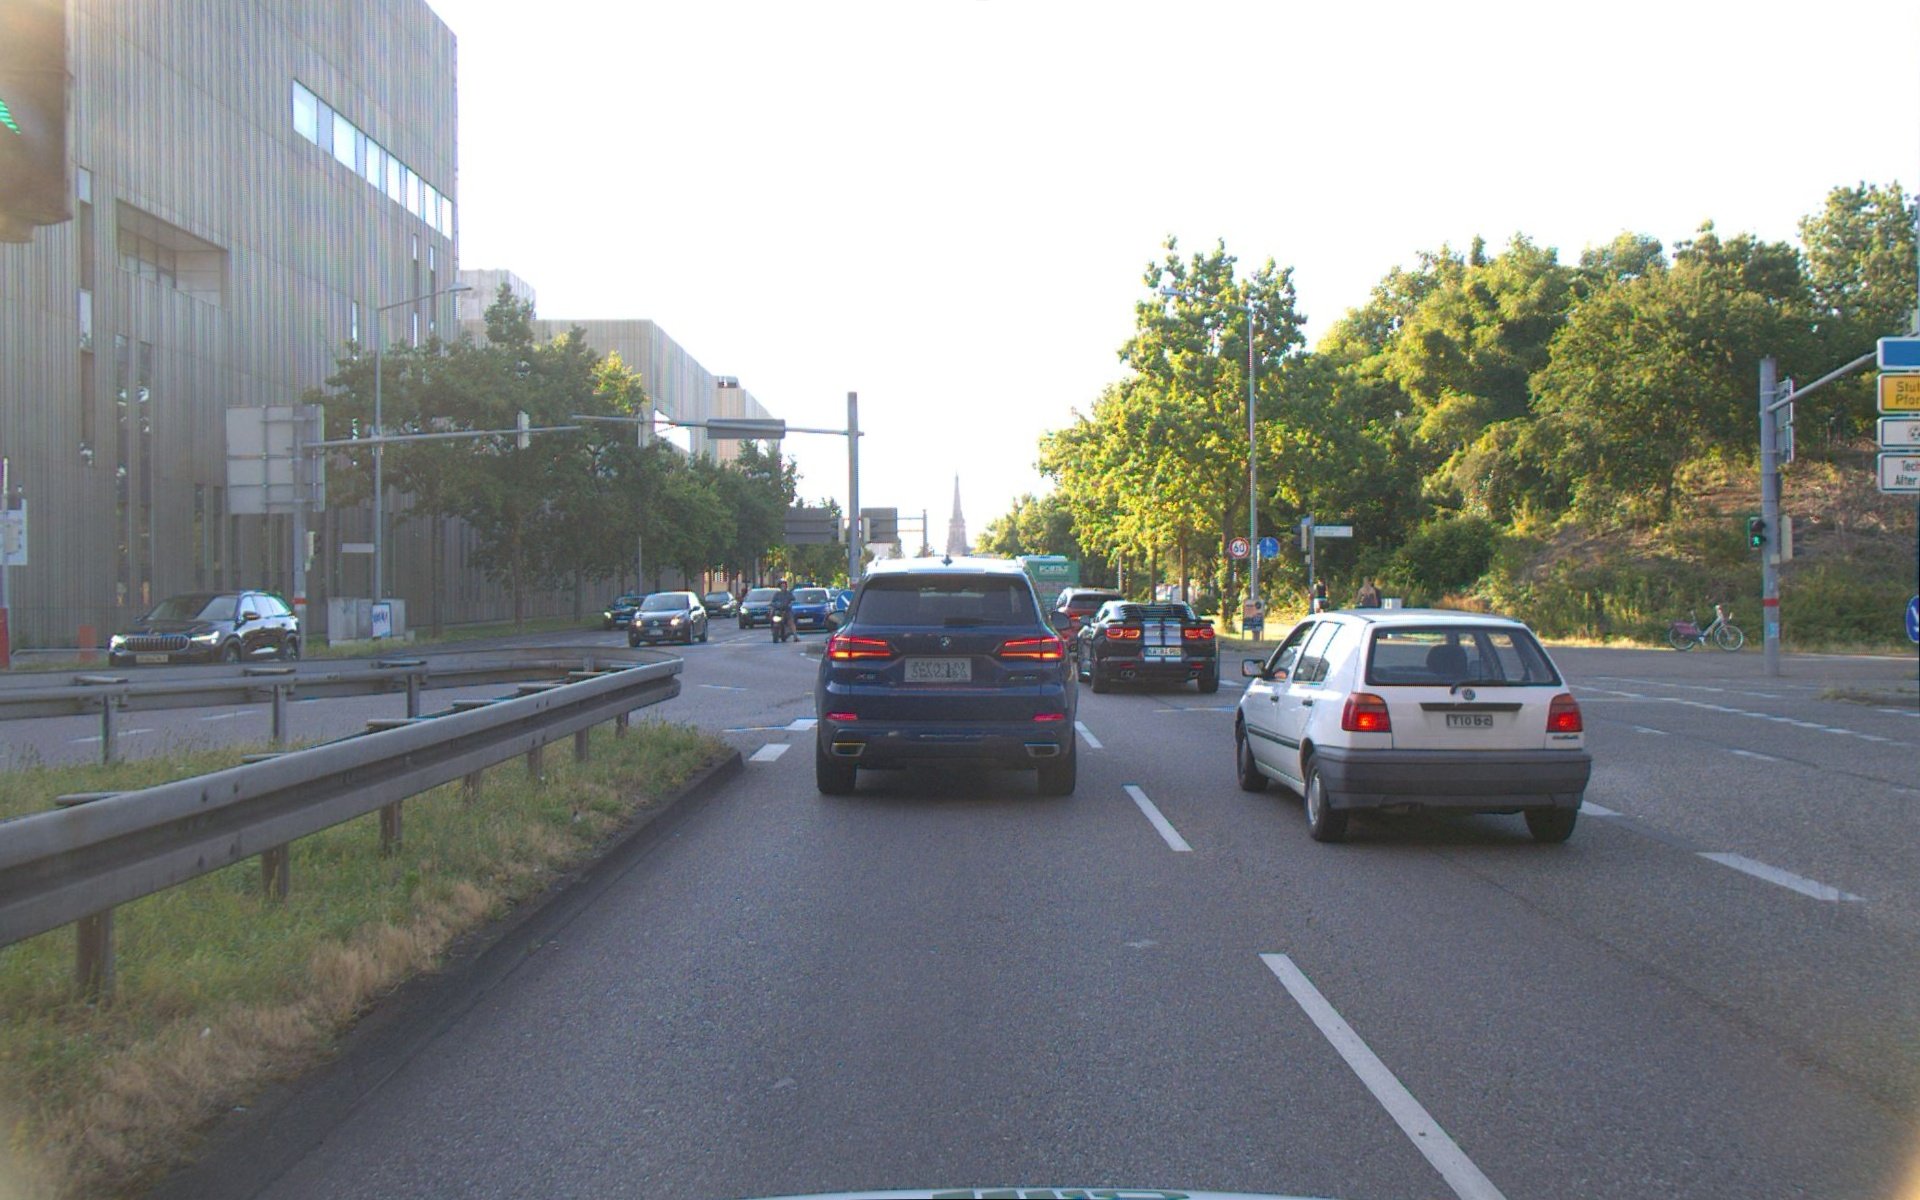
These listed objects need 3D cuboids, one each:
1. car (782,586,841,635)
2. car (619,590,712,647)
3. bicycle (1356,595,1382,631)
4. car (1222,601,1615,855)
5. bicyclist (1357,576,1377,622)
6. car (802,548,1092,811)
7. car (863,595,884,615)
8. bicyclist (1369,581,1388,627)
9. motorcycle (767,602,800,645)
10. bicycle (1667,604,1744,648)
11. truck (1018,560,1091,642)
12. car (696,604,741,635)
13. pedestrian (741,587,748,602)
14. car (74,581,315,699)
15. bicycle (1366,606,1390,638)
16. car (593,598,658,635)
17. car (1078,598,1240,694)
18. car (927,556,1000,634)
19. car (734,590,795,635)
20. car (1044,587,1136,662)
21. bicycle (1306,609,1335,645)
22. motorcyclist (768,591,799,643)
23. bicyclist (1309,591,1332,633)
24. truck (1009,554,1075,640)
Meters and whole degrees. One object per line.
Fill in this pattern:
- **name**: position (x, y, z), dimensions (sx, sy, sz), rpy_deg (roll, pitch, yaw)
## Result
- **car**: position (-4.974, 0.375, 55.700), dimensions (1.668, 1.477, 3.856), rpy_deg (-4, -1, -2)
- **car**: position (-8.284, 0.533, 46.881), dimensions (1.953, 1.501, 4.079), rpy_deg (2, -1, -1)
- **bicycle**: position (11.128, 0.357, 45.040), dimensions (0.428, 0.930, 1.026), rpy_deg (-2, -1, 0)
- **car**: position (2.970, 0.765, 11.566), dimensions (1.546, 1.438, 4.061), rpy_deg (1, -1, -1)
- **bicyclist**: position (11.121, -0.018, 45.162), dimensions (0.419, 1.254, 0.460), rpy_deg (-1, -1, 0)
- **car**: position (-0.092, 0.572, 13.580), dimensions (1.953, 1.764, 4.532), rpy_deg (1, -1, 0)
- **car**: position (-8.365, 0.475, 160.478), dimensions (1.721, 1.808, 4.492), rpy_deg (-4, -1, -1)
- **bicyclist**: position (12.269, 0.120, 48.513), dimensions (0.419, 1.332, 0.460), rpy_deg (1, -1, 0)
- **motorcycle**: position (-4.857, 0.629, 45.461), dimensions (0.824, 1.094, 2.397), rpy_deg (-2, 1, -7)
- **bicycle**: position (18.009, 0.636, 39.977), dimensions (1.627, 1.008, 0.578), rpy_deg (-1, 2, 16)
- **truck**: position (2.830, 0.046, 50.367), dimensions (1.955, 2.356, 3.999), rpy_deg (1, -1, 0)
- **car**: position (-13.949, 1.147, 95.664), dimensions (1.954, 1.619, 4.713), rpy_deg (-4, -1, -2)
- **pedestrian**: position (-22.341, -0.589, 171.430), dimensions (0.613, 1.548, 0.718), rpy_deg (1, -1, 3)
- **car**: position (-12.986, 0.657, 28.425), dimensions (1.953, 1.726, 4.679), rpy_deg (-4, -1, -1)
- **bicycle**: position (12.260, 0.650, 48.497), dimensions (0.428, 0.930, 1.026), rpy_deg (1, -1, 0)
- **car**: position (-14.283, 0.717, 70.849), dimensions (1.954, 1.425, 4.347), rpy_deg (-4, -1, -2)
- **car**: position (2.927, 0.668, 25.109), dimensions (1.953, 1.317, 3.999), rpy_deg (1, -1, 0)
- **car**: position (0.069, -0.153, 58.874), dimensions (2.095, 2.621, 5.081), rpy_deg (1, -1, -5)
- **car**: position (-7.897, 0.514, 67.096), dimensions (1.954, 1.619, 4.713), rpy_deg (-4, -1, -2)
- **car**: position (2.914, 0.559, 37.720), dimensions (1.759, 1.586, 3.999), rpy_deg (1, -1, 0)
- **bicycle**: position (11.654, 0.879, 53.513), dimensions (0.553, 1.132, 1.621), rpy_deg (1, -1, 0)
- **motorcyclist**: position (-4.869, 0.462, 45.481), dimensions (0.782, 1.373, 1.273), rpy_deg (-2, 1, -7)
- **bicyclist**: position (11.656, 0.405, 53.499), dimensions (0.532, 1.339, 0.835), rpy_deg (1, -1, 0)
- **truck**: position (2.688, -0.083, 55.099), dimensions (1.955, 2.715, 3.999), rpy_deg (1, -1, 0)
